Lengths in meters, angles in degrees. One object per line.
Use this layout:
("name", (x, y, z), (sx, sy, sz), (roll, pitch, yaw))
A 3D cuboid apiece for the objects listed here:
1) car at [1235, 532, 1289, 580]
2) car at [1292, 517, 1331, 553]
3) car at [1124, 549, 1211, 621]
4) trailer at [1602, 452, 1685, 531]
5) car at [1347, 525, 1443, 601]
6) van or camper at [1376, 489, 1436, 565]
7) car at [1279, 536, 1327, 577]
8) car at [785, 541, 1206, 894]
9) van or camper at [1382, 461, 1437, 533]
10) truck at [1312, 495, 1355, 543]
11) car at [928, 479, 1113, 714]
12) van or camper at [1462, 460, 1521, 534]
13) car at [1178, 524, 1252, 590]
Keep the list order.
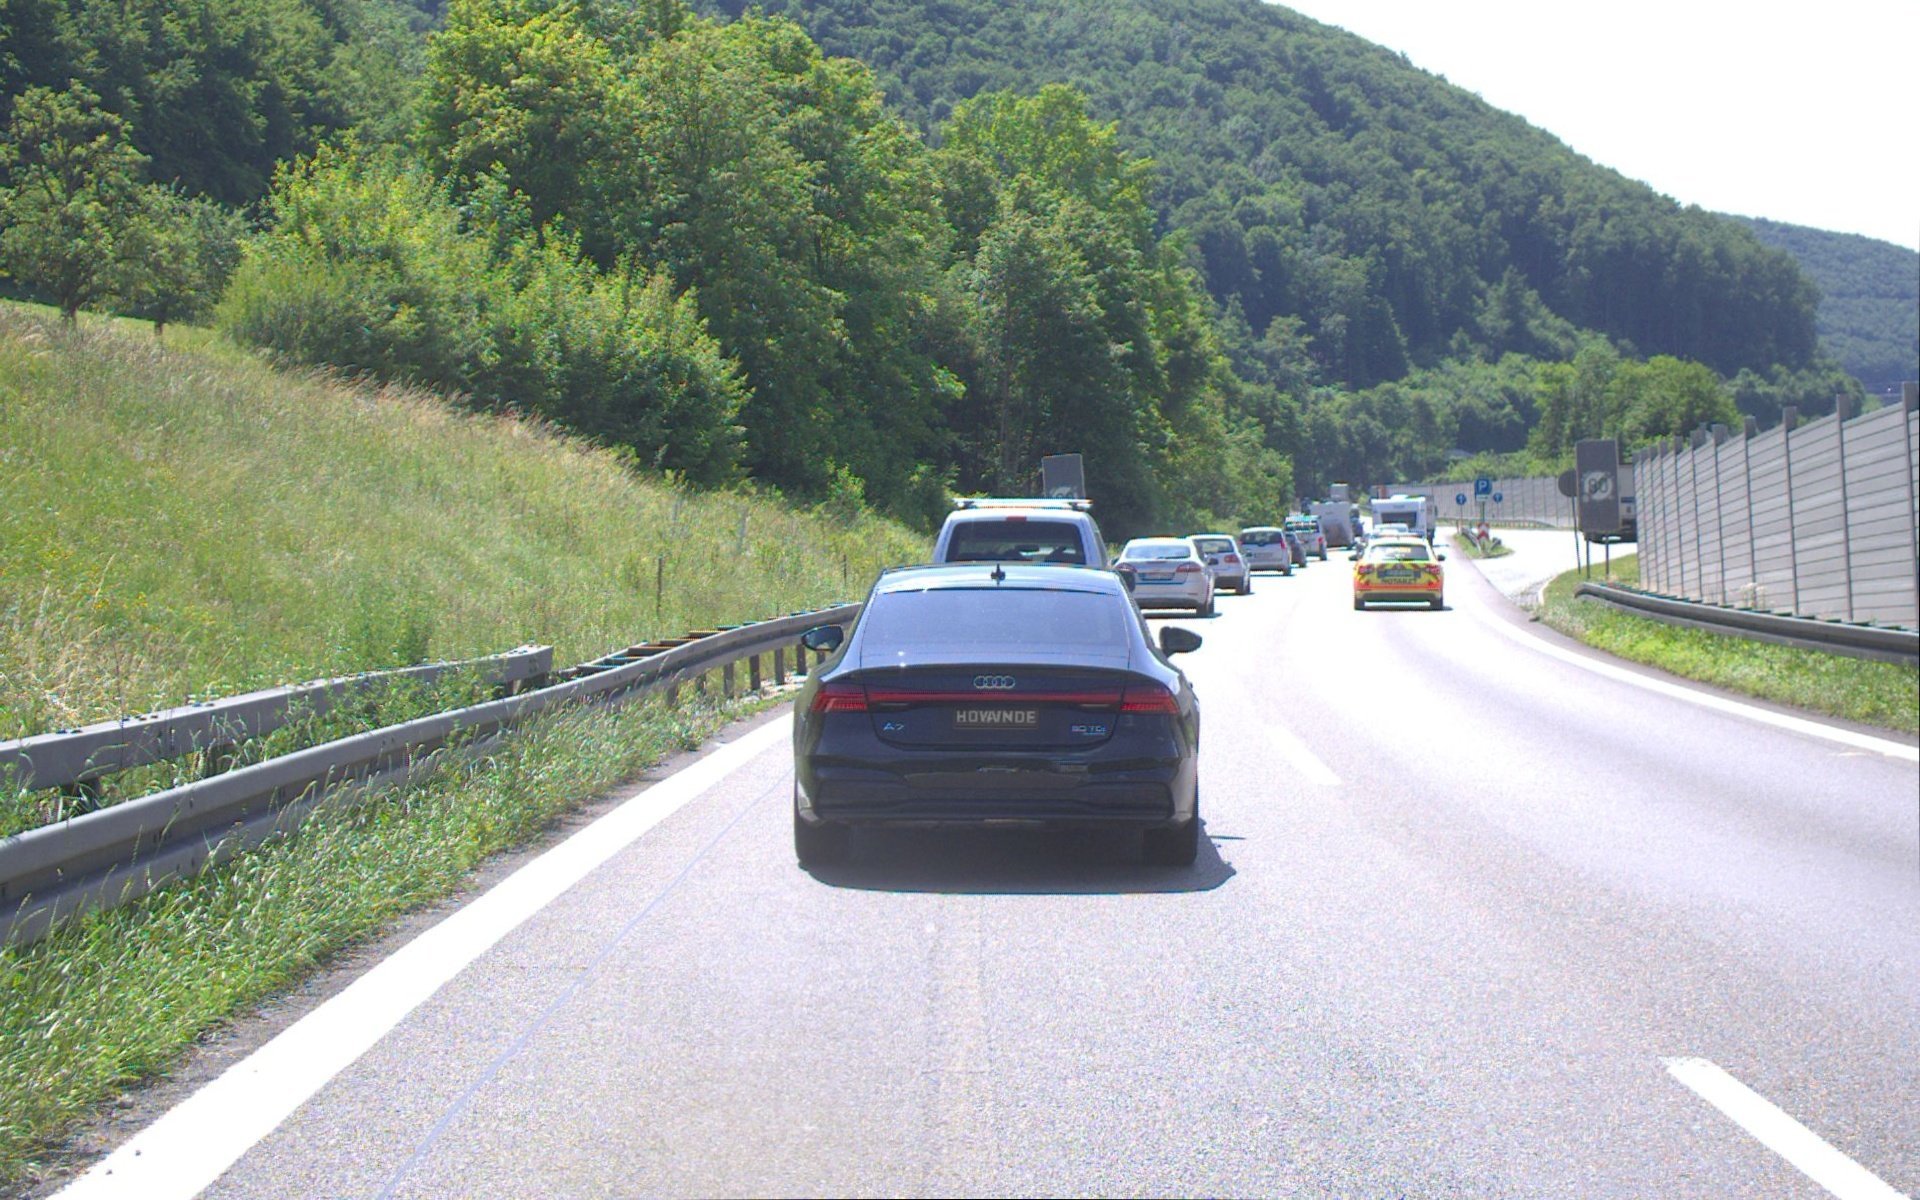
("car", (10.112, -1.483, 114.985), (1.521, 1.547, 3.513), (2, 1, 9))
("car", (15.712, -2.879, 153.573), (1.521, 1.547, 3.513), (2, 1, 9))
("car", (3.922, -0.300, 64.725), (1.521, 1.290, 3.514), (0, 1, 5))
("trailer", (34.882, -5.507, 175.697), (3.412, 3.887, 11.148), (0, 1, 7))
("car", (8.930, -0.783, 70.331), (1.879, 1.493, 3.999), (0, 1, 8))
("van or camper", (19.077, -3.087, 146.931), (2.430, 3.144, 5.202), (1, 1, 8))
("car", (13.297, -1.687, 133.154), (1.522, 1.547, 3.513), (2, 1, 10))
("car", (0.162, 0.478, 16.613), (1.812, 1.509, 3.514), (0, 1, 0))
("van or camper", (24.991, -5.699, 191.254), (2.795, 3.893, 6.166), (1, 1, 6))
("truck", (21.203, -4.576, 195.046), (2.065, 2.596, 5.612), (2, 1, 10))
("car", (0.564, -0.067, 31.094), (1.521, 1.961, 3.514), (2, 1, 2))
("van or camper", (28.716, -5.526, 185.971), (2.795, 3.828, 6.166), (1, 1, 6))
("car", (6.270, -1.061, 84.313), (1.521, 1.547, 3.513), (2, 1, 8))
